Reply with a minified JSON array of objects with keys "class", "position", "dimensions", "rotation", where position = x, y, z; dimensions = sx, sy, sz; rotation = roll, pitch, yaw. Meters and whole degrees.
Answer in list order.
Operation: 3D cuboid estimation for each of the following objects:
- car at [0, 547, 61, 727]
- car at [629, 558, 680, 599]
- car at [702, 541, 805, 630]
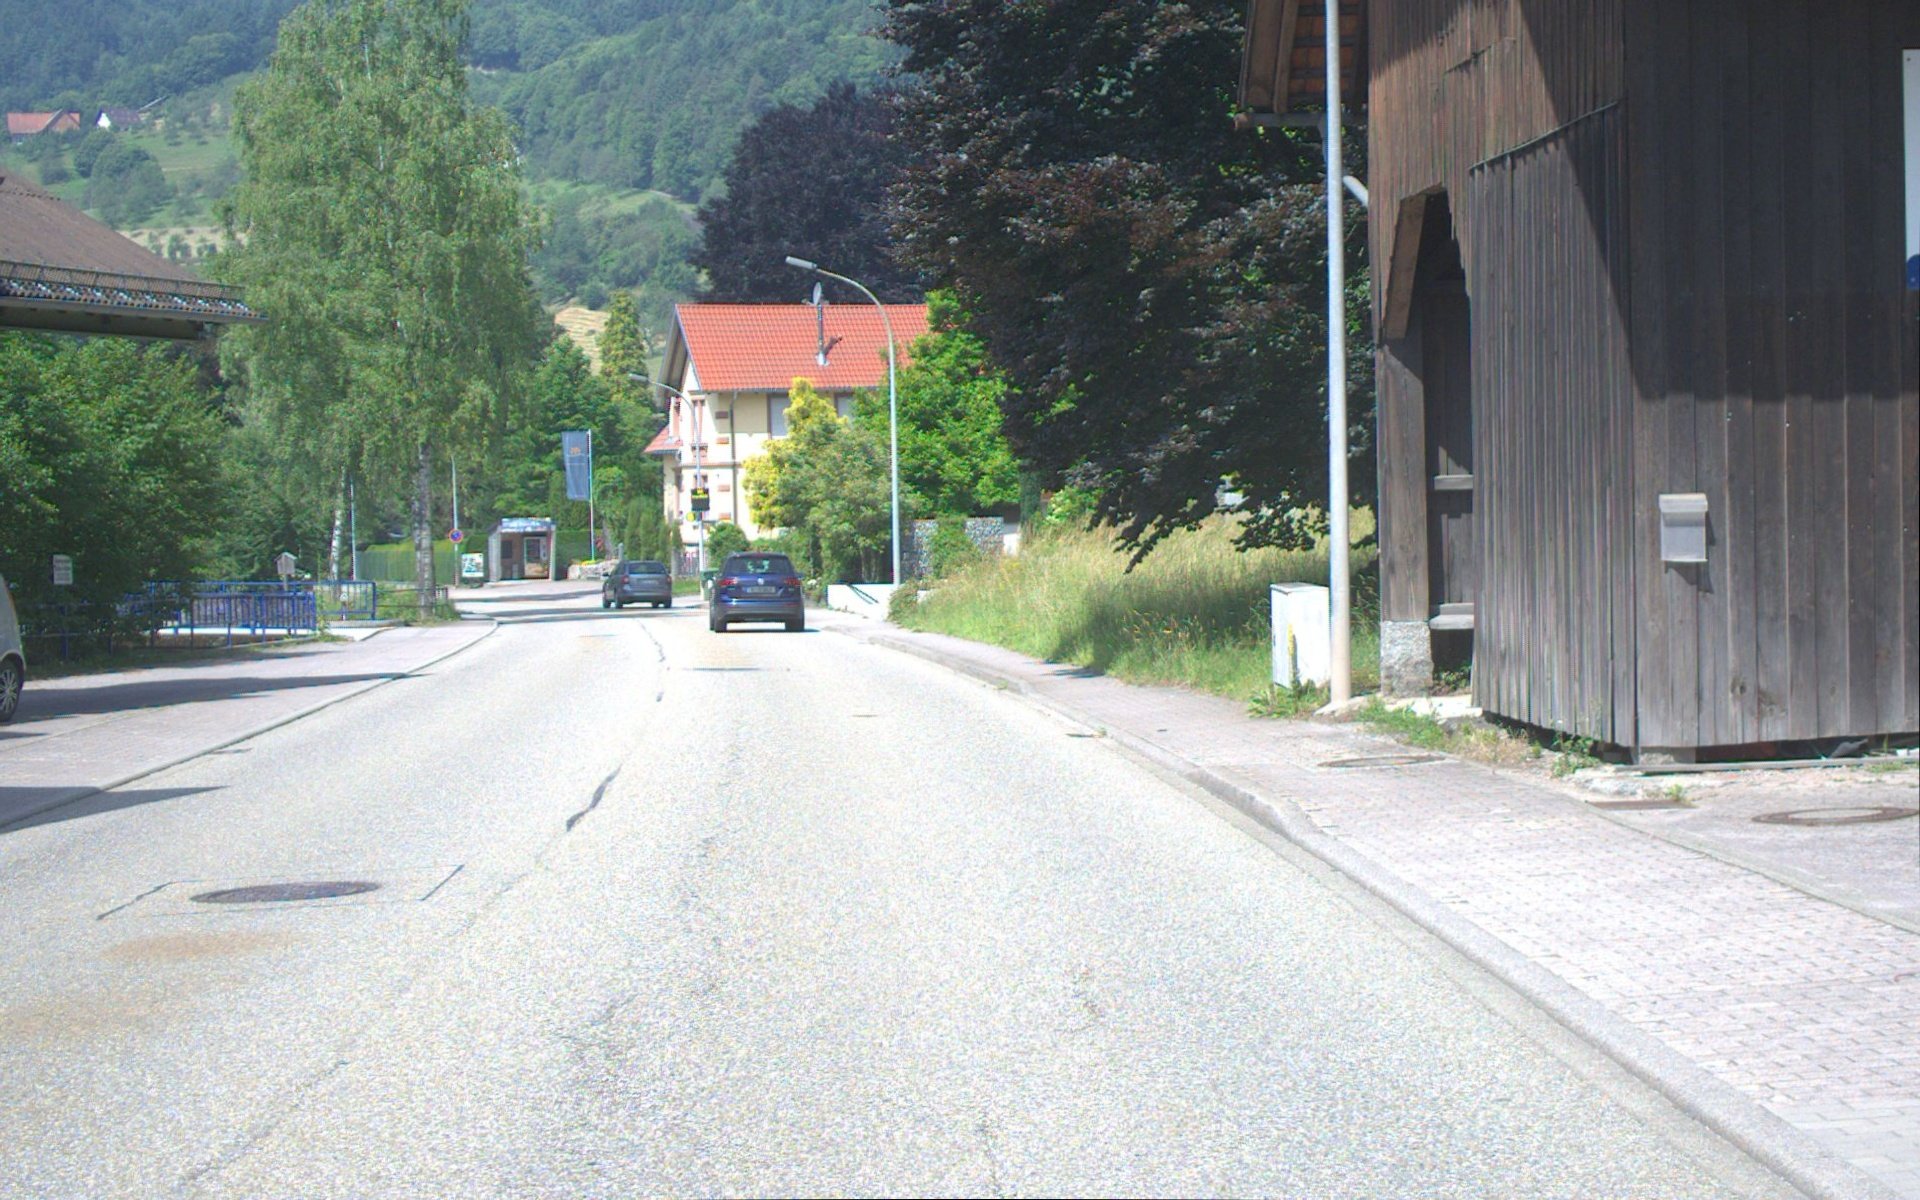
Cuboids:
[{"class":"car","position":[-9.439,0.332,29.818],"dimensions":[1.581,1.564,4.021],"rotation":[2,2,10]},{"class":"car","position":[-9.423,-0.672,105.834],"dimensions":[1.476,1.205,2.384],"rotation":[-2,1,-6]},{"class":"car","position":[-4.235,-0.308,70.006],"dimensions":[1.919,1.692,3.789],"rotation":[-2,1,-5]}]
